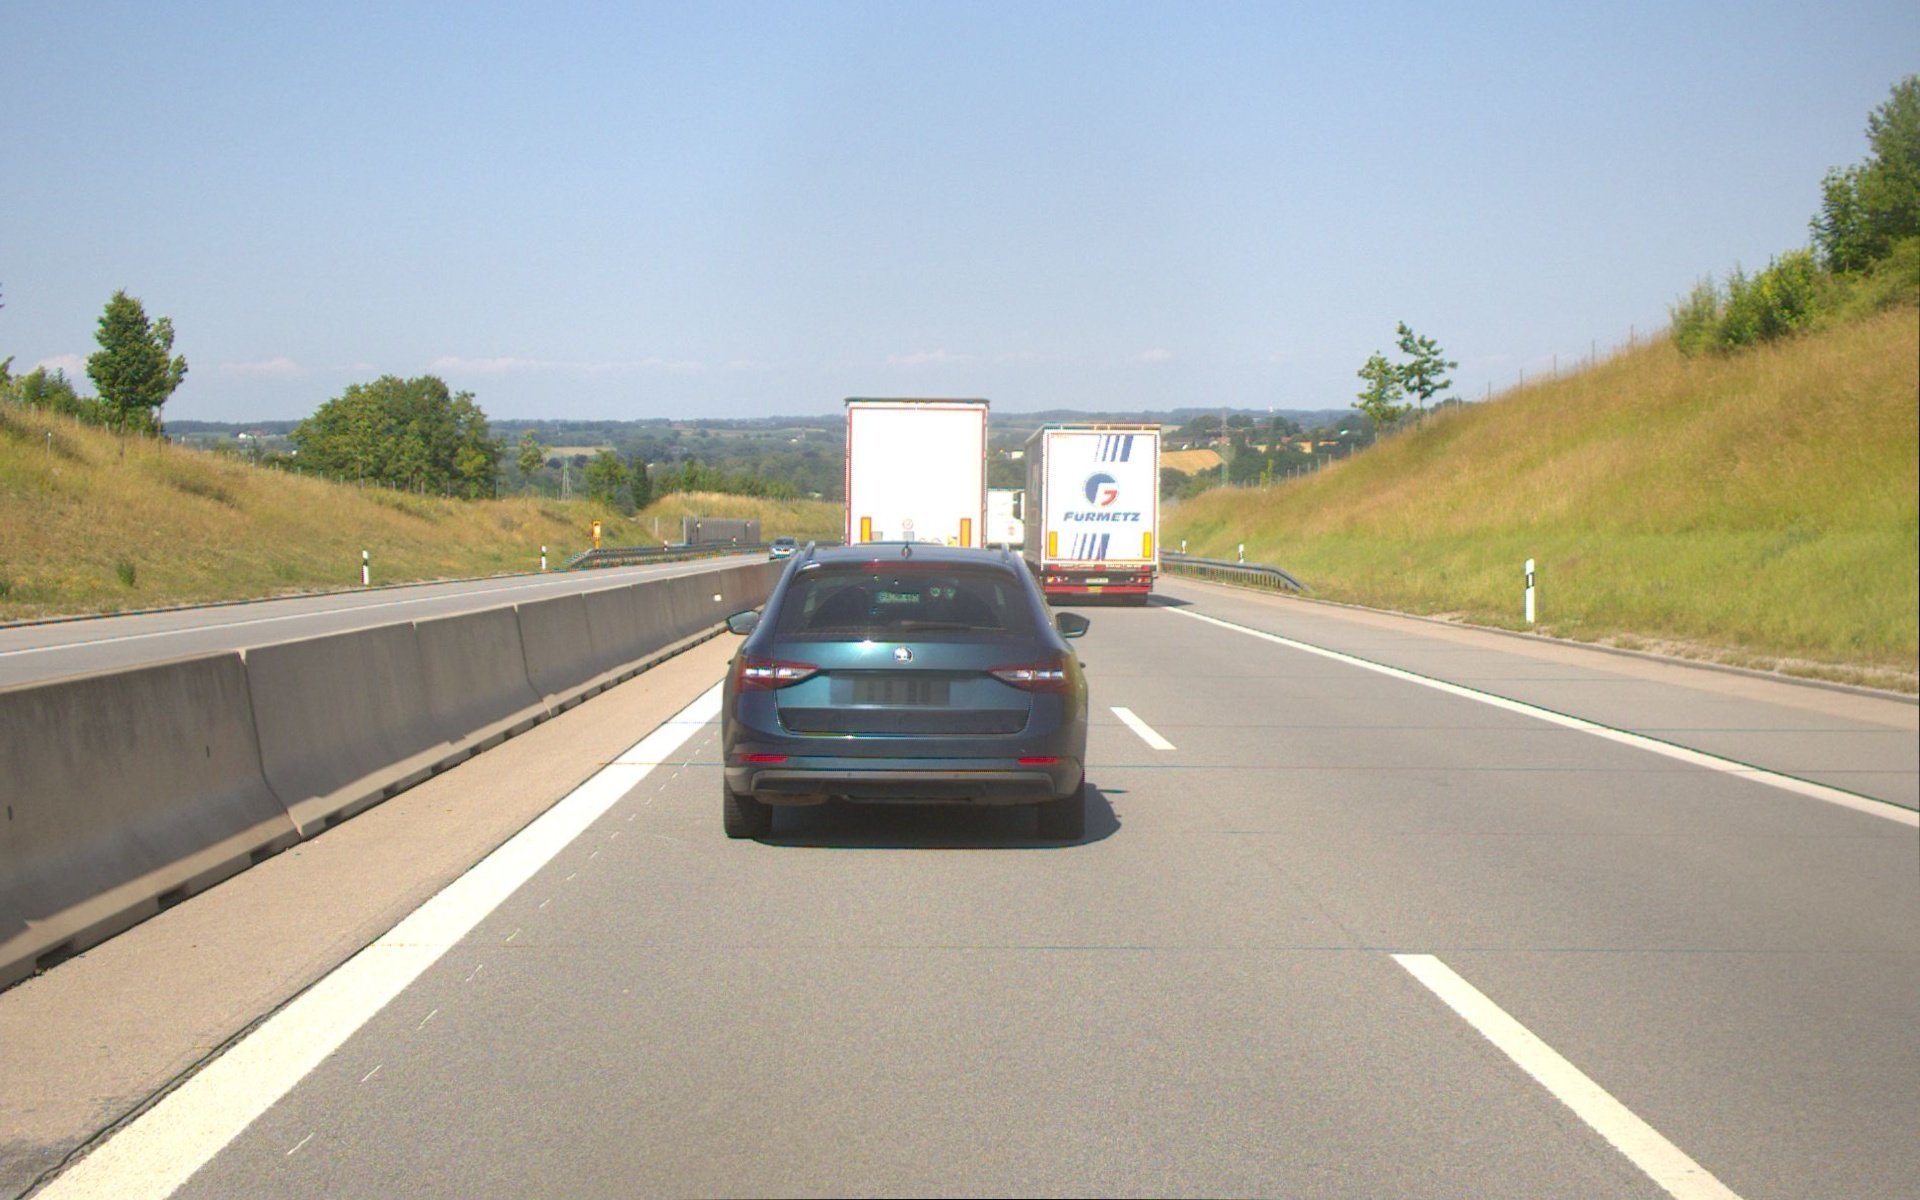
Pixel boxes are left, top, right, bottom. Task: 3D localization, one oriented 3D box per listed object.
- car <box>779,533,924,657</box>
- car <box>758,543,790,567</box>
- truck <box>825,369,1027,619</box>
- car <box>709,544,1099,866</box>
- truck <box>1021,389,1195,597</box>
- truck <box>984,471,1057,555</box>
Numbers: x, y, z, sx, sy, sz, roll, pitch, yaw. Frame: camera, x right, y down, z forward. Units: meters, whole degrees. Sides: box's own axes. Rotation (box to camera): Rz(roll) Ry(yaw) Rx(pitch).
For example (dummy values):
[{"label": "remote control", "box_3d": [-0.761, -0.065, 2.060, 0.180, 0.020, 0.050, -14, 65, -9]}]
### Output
[{"label": "car", "box_3d": [-1.362, -0.097, 43.486, 1.700, 1.436, 4.000, -2, 1, -1]}, {"label": "car", "box_3d": [-11.828, -2.864, 219.143, 1.803, 1.466, 4.527, 0, 1, 0]}, {"label": "truck", "box_3d": [-0.505, -2.033, 67.334, 3.211, 4.366, 11.233, -2, 1, 3]}, {"label": "car", "box_3d": [-0.308, 0.454, 17.729, 1.776, 1.436, 3.789, -1, 1, -2]}, {"label": "truck", "box_3d": [3.415, -2.440, 79.922, 3.604, 4.366, 11.233, -2, 1, 2]}, {"label": "truck", "box_3d": [3.372, -4.751, 188.303, 3.604, 4.366, 11.233, -2, 1, 2]}]
